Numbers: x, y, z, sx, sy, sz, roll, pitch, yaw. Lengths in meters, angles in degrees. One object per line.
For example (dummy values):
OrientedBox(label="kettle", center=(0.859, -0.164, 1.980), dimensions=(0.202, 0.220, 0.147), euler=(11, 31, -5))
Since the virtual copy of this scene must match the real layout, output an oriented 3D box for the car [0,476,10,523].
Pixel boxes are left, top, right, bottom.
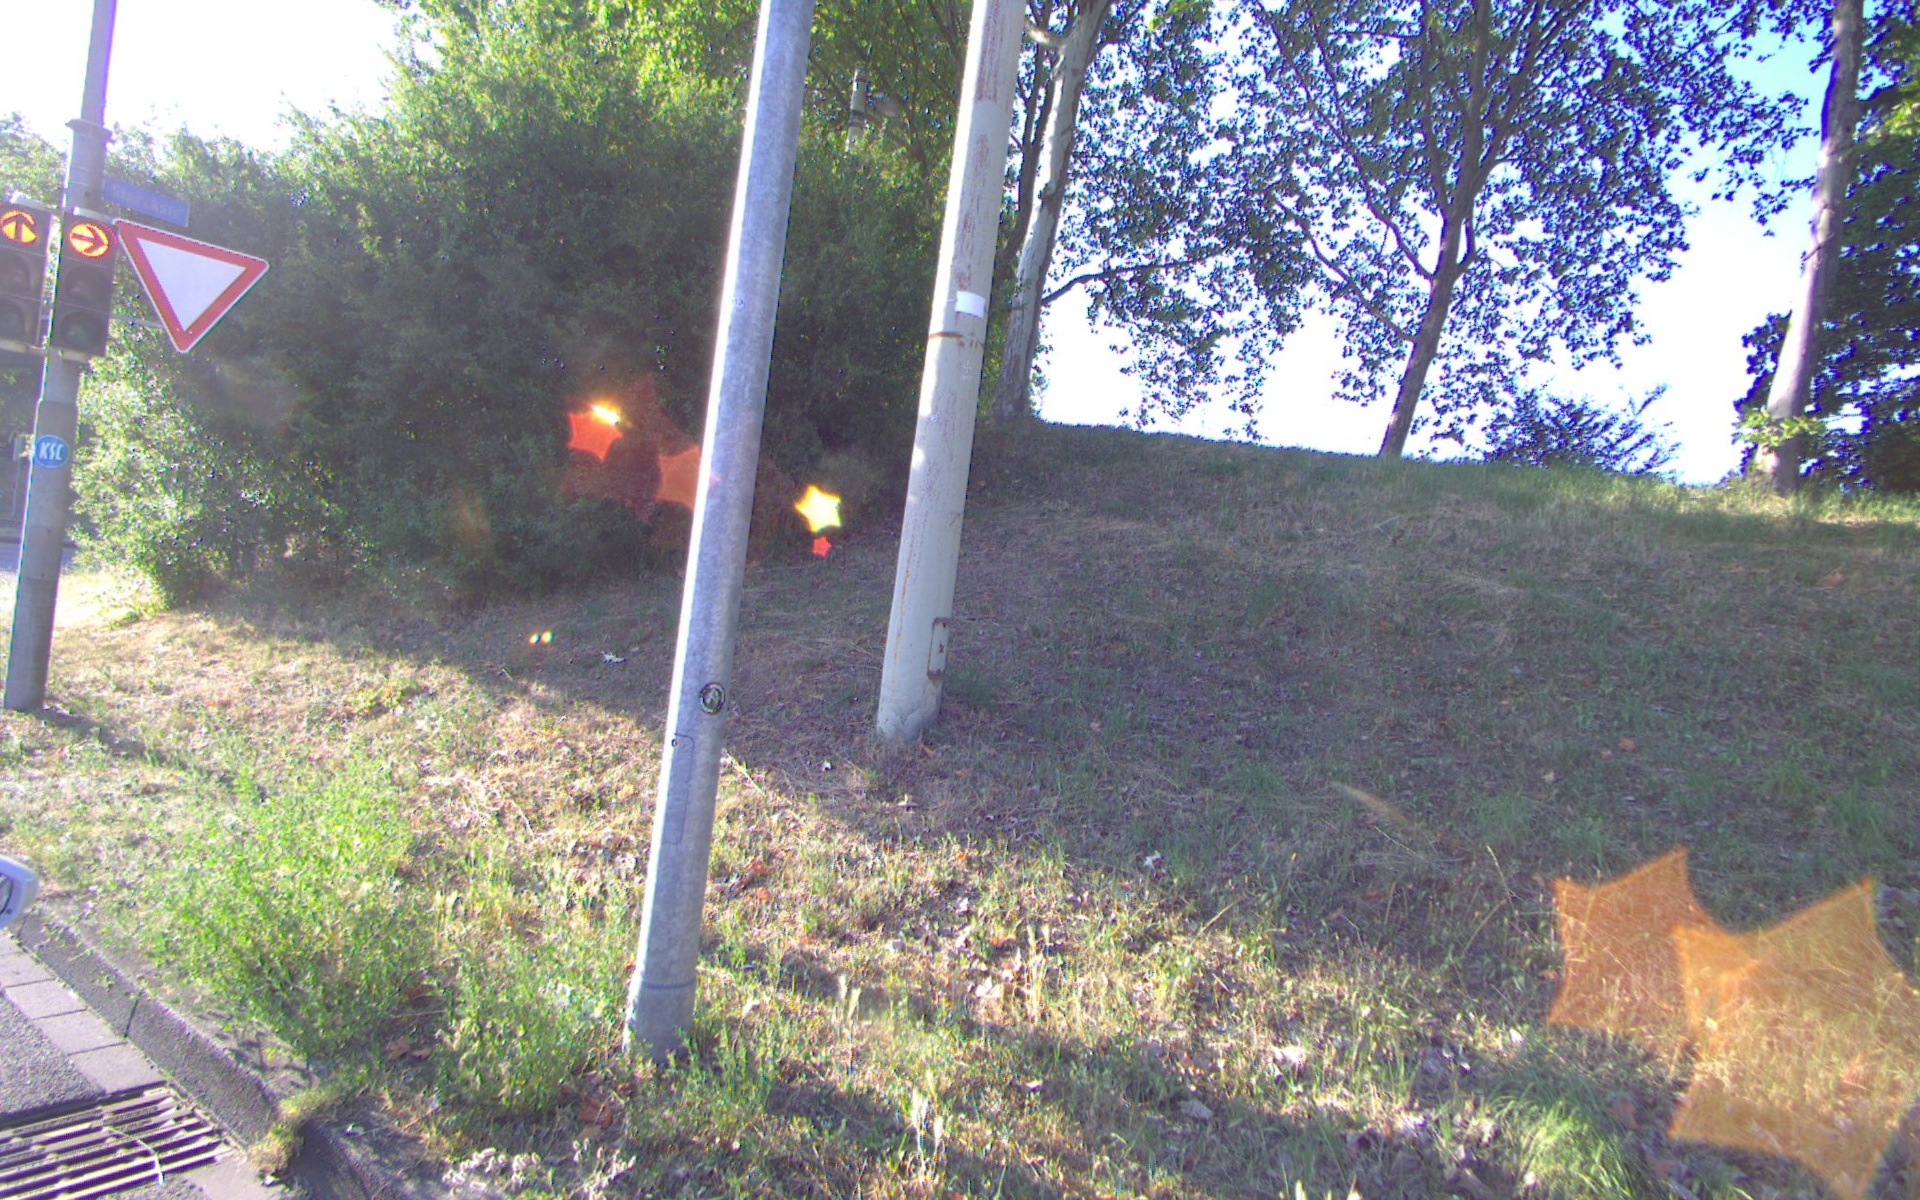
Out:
OrientedBox(label="car", center=(-41.416, -4.404, 40.127), dimensions=(1.962, 1.928, 4.710), euler=(7, -1, 11))
